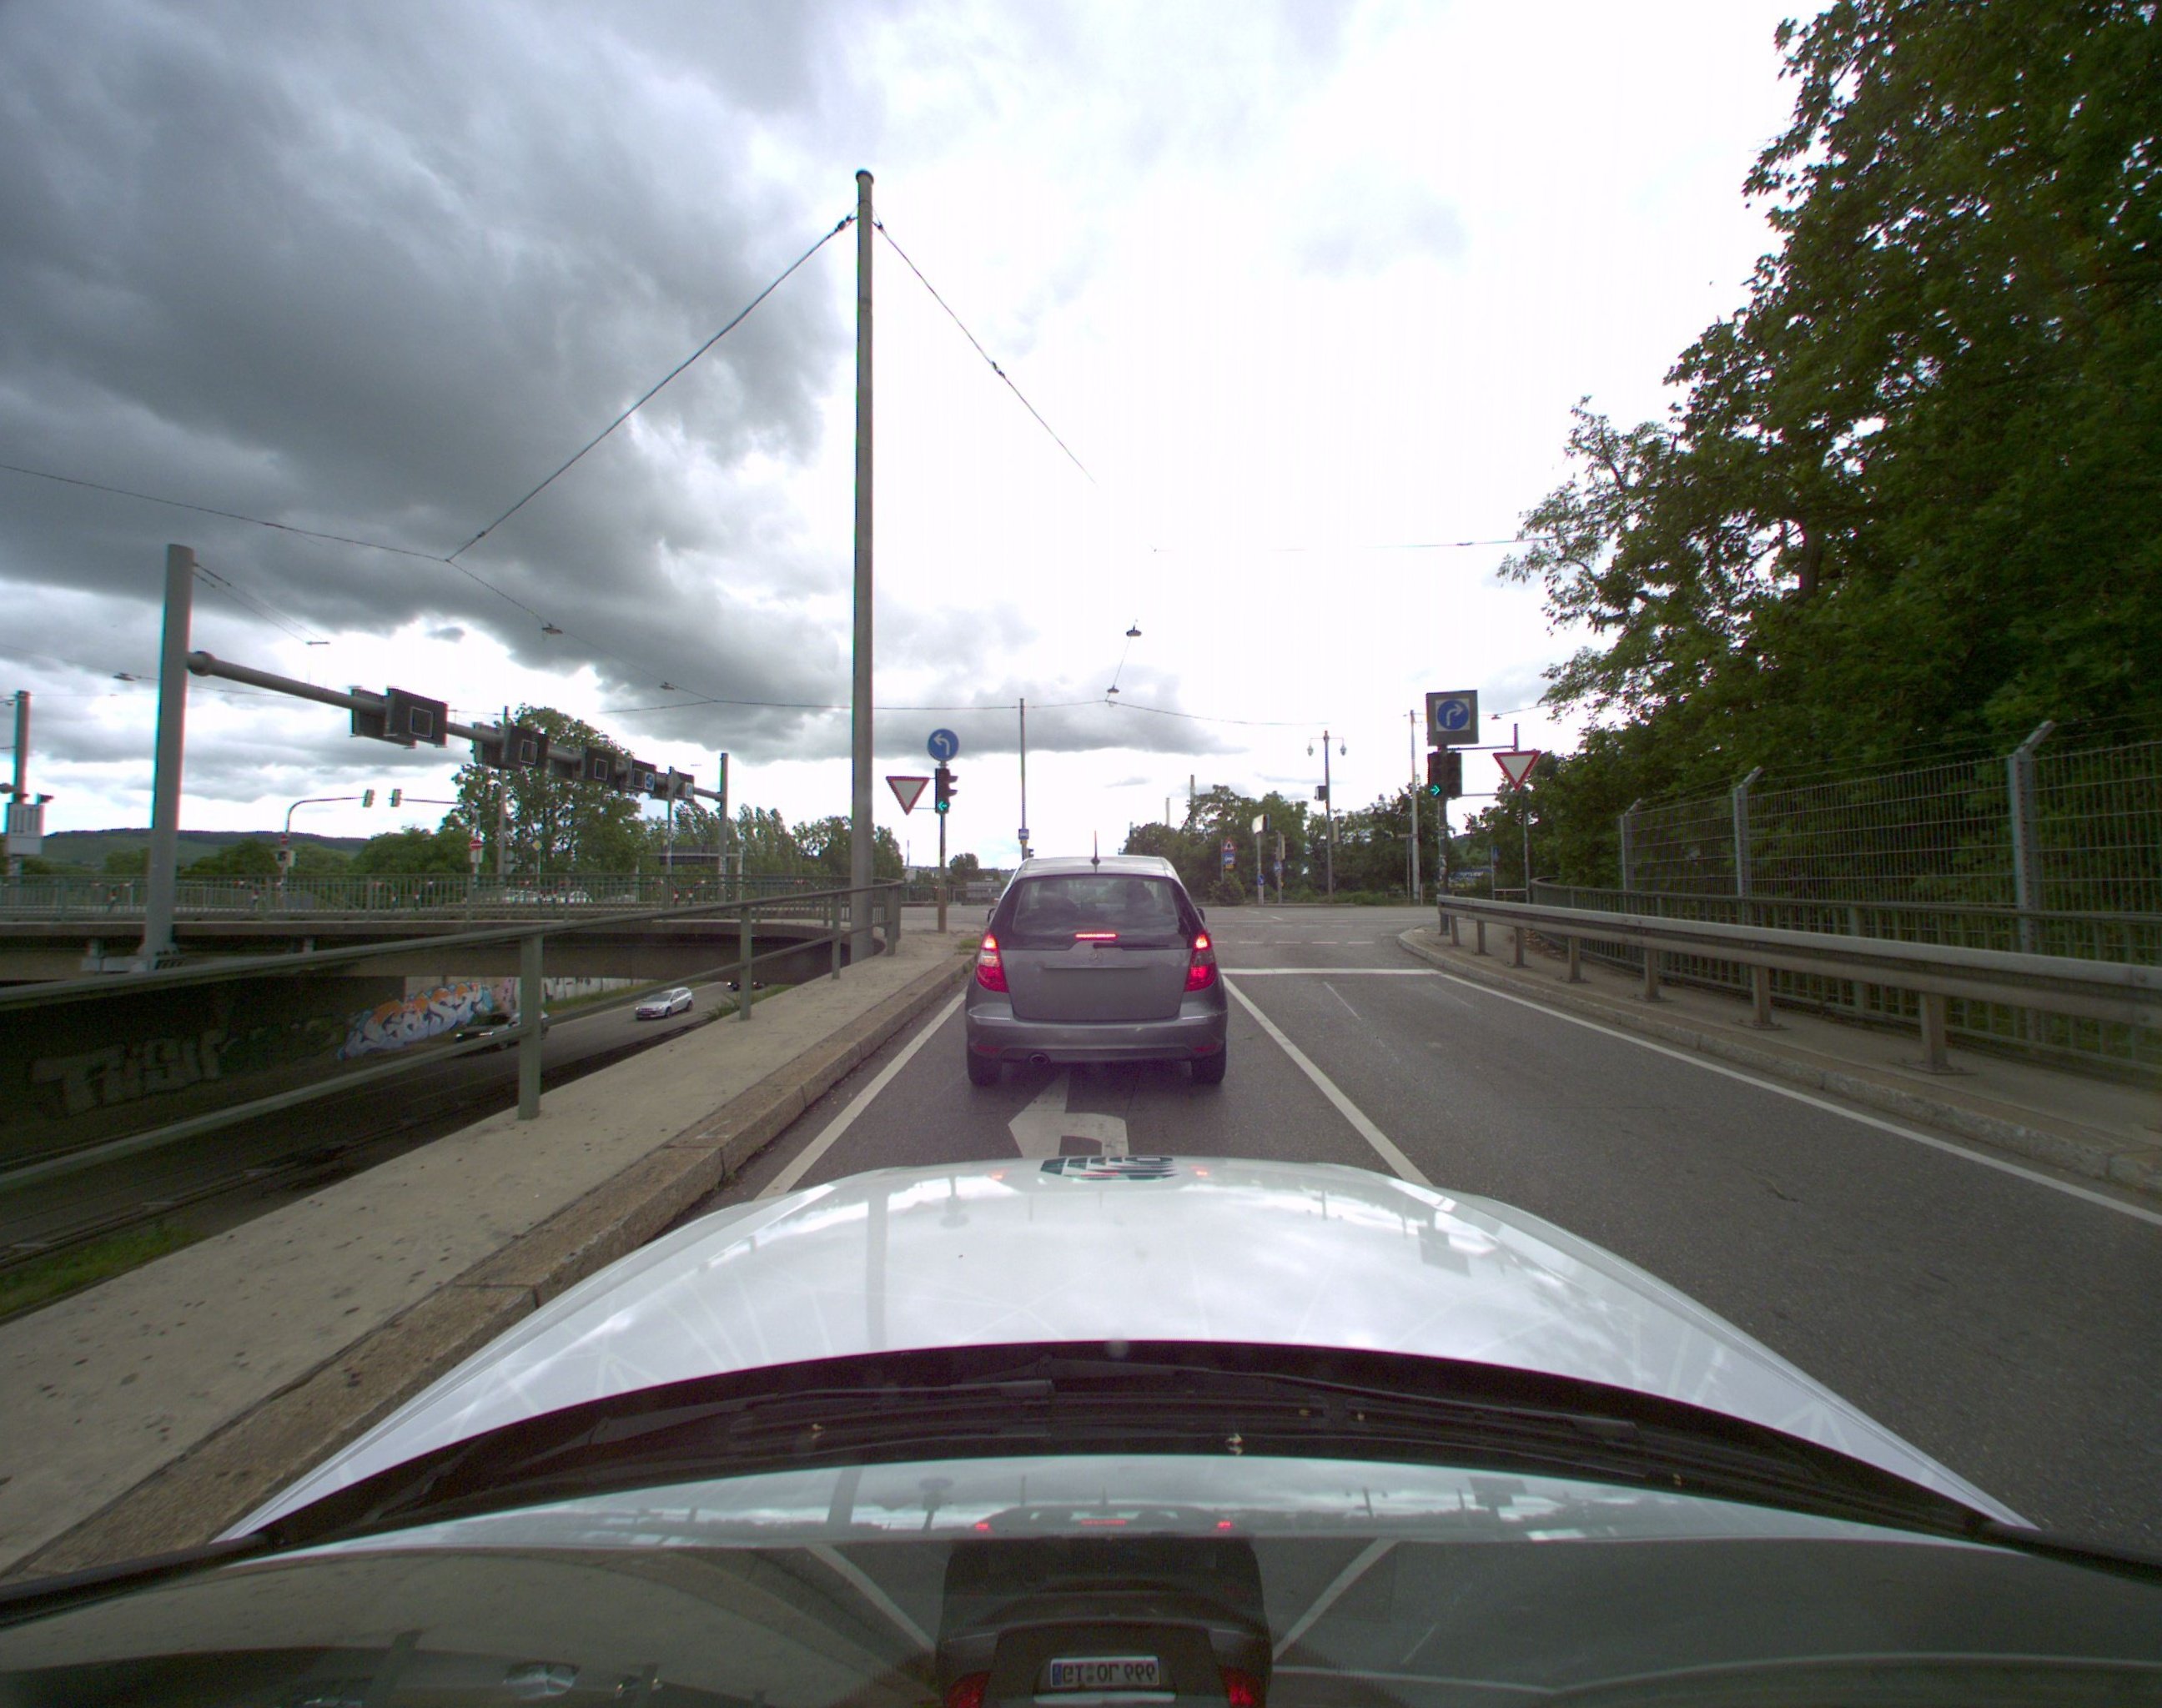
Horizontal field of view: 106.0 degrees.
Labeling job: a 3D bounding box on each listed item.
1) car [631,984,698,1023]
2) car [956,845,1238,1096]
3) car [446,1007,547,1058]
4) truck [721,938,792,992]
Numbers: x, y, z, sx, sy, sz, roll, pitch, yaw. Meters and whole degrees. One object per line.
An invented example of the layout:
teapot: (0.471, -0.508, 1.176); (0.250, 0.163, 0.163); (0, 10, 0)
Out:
car: (-24.722, 8.868, 48.529); (1.675, 1.611, 4.492); (-2, -3, 0)
car: (0.155, 0.738, 6.803); (1.733, 1.543, 3.542); (0, -1, 2)
car: (-28.079, 8.553, 39.292); (1.705, 1.670, 4.256); (-2, -3, 2)
truck: (-25.336, 8.596, 64.050); (2.506, 3.462, 8.123); (-2, -3, -1)
